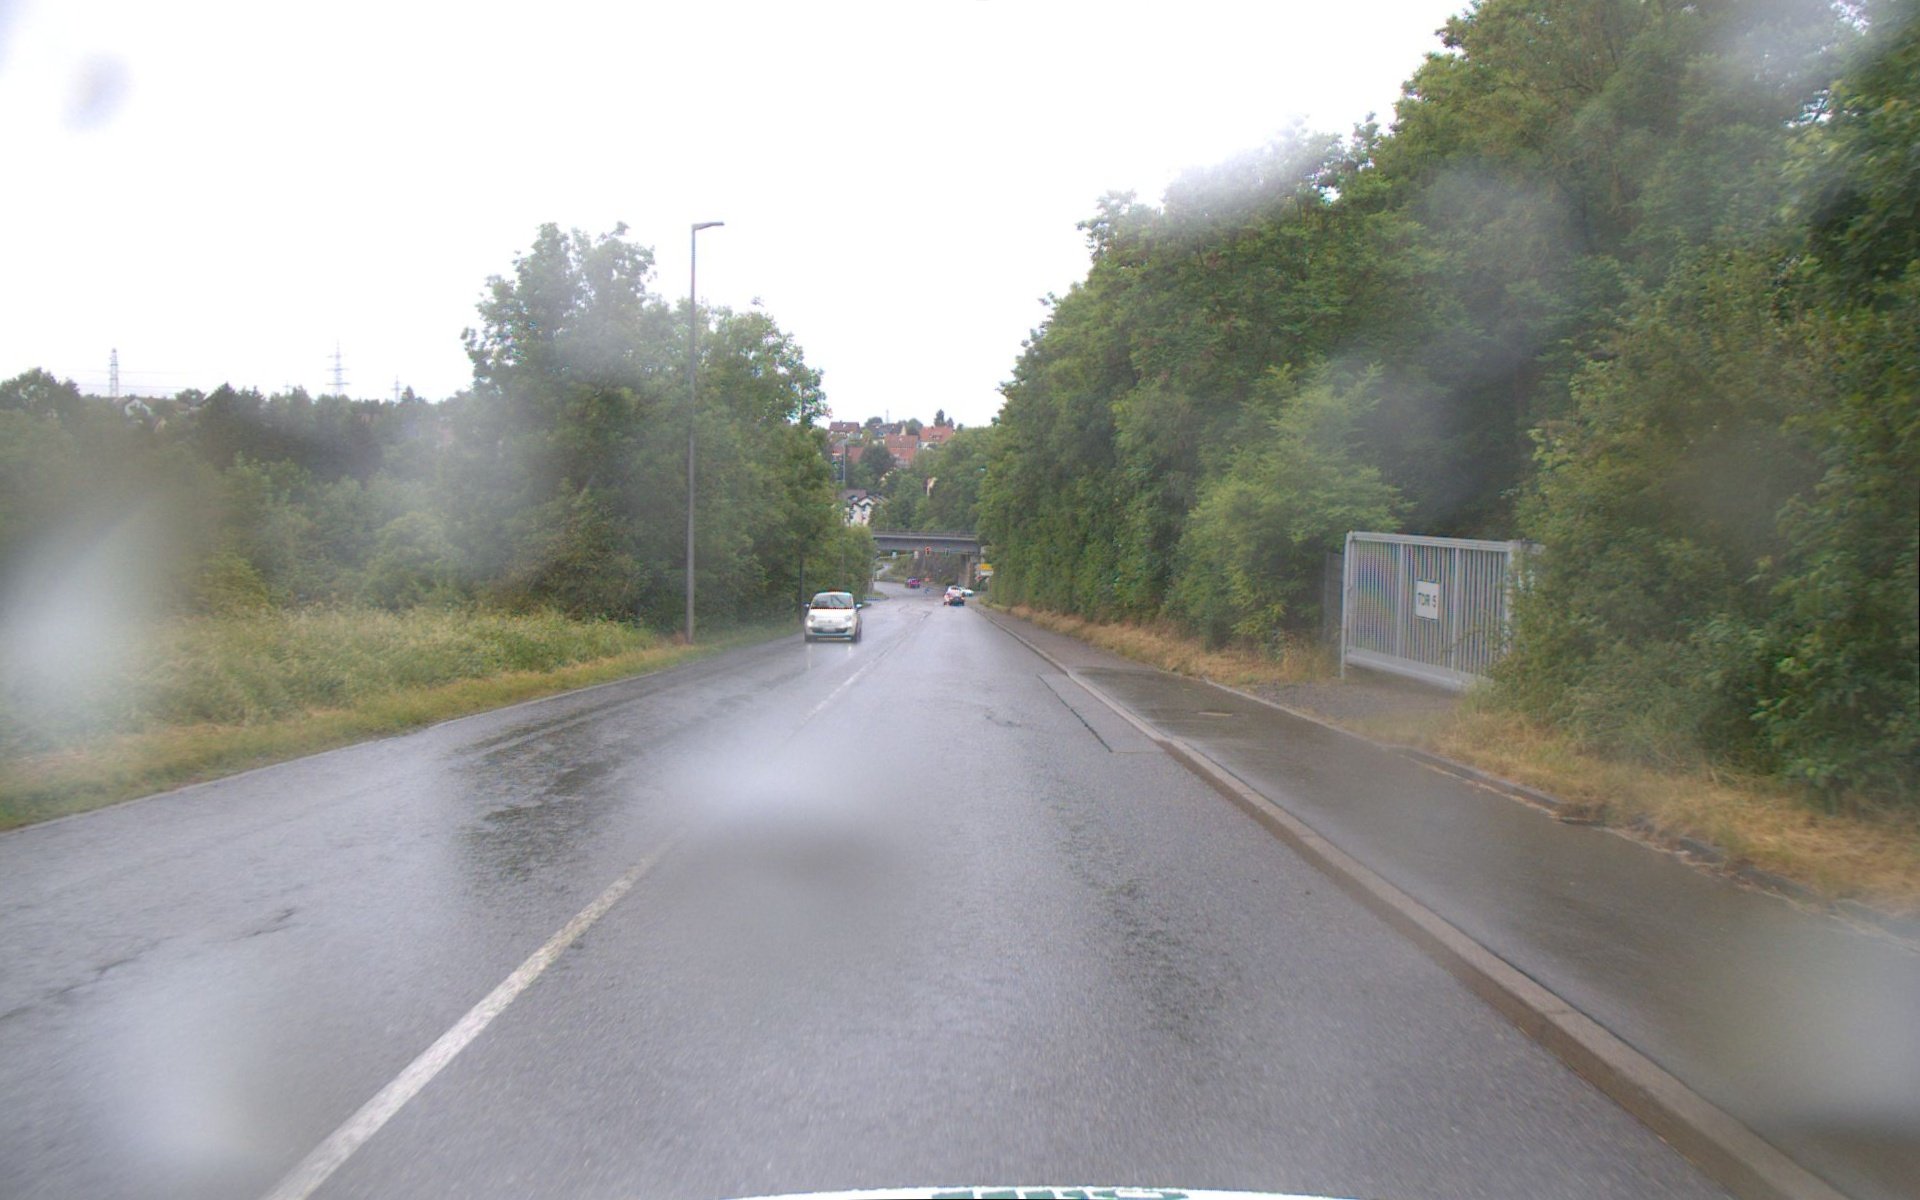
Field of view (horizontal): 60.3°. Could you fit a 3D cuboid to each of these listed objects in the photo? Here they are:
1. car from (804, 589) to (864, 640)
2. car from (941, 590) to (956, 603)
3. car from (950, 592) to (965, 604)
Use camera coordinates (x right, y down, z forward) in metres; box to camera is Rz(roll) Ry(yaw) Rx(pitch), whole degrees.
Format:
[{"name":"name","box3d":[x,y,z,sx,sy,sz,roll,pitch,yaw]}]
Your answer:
[{"name":"car","box3d":[-3.871,0.438,51.163,1.605,1.514,3.454,0,0,0]},{"name":"car","box3d":[-1.322,-0.403,197.491,1.732,1.590,4.000,0,0,0]},{"name":"car","box3d":[-0.258,-0.225,190.686,1.732,1.404,4.000,0,0,0]}]
